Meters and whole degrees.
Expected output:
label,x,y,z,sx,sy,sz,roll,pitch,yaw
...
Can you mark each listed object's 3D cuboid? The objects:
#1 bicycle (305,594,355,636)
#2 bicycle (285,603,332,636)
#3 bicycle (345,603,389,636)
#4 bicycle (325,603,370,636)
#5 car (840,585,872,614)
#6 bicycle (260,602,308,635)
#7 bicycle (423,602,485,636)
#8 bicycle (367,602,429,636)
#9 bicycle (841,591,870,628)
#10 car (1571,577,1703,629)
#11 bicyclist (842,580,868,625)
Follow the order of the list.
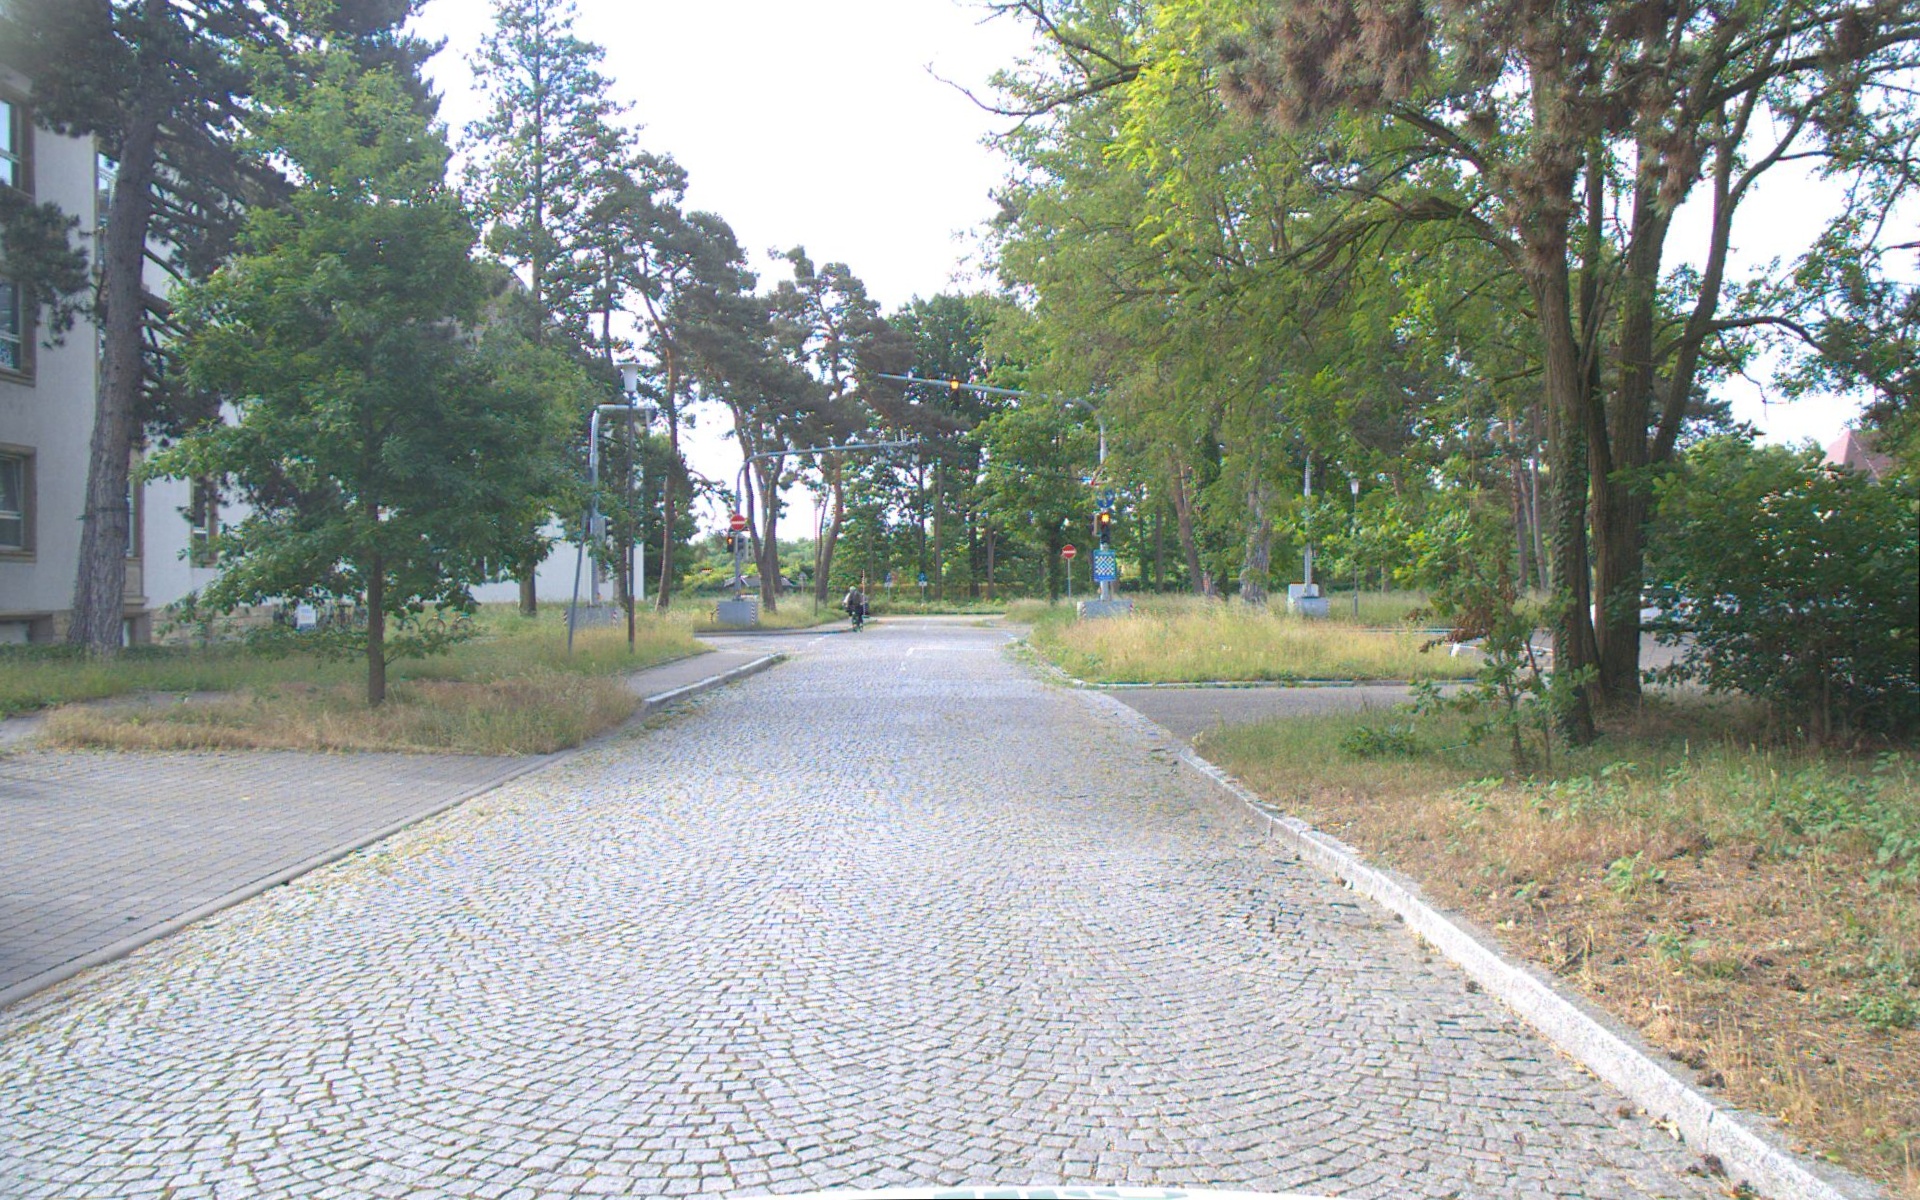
label,x,y,z,sx,sy,sz,roll,pitch,yaw
bicycle,-21.772,0.515,57.198,0.721,1.410,2.711,-1,0,0
bicycle,-22.559,0.653,57.293,0.721,1.095,2.273,-1,0,0
bicycle,-20.408,0.650,56.948,0.721,1.095,2.273,-1,0,0
bicycle,-21.036,0.662,56.856,0.721,1.095,2.273,-1,0,0
car,-7.112,-0.046,113.317,2.014,1.878,3.999,-1,0,-2
bicycle,-23.185,0.634,56.788,0.721,1.095,2.273,-1,0,0
bicycle,-17.079,0.632,55.798,1.818,1.095,0.831,-1,0,1
bicycle,-18.929,0.636,55.725,1.818,1.095,0.738,-1,0,1
bicycle,-4.093,0.371,64.657,0.916,1.411,2.186,-1,0,2
car,20.498,0.125,50.297,1.954,1.507,4.421,-1,-1,-4
bicyclist,-4.099,0.088,64.632,0.934,1.727,0.923,-1,-1,1
